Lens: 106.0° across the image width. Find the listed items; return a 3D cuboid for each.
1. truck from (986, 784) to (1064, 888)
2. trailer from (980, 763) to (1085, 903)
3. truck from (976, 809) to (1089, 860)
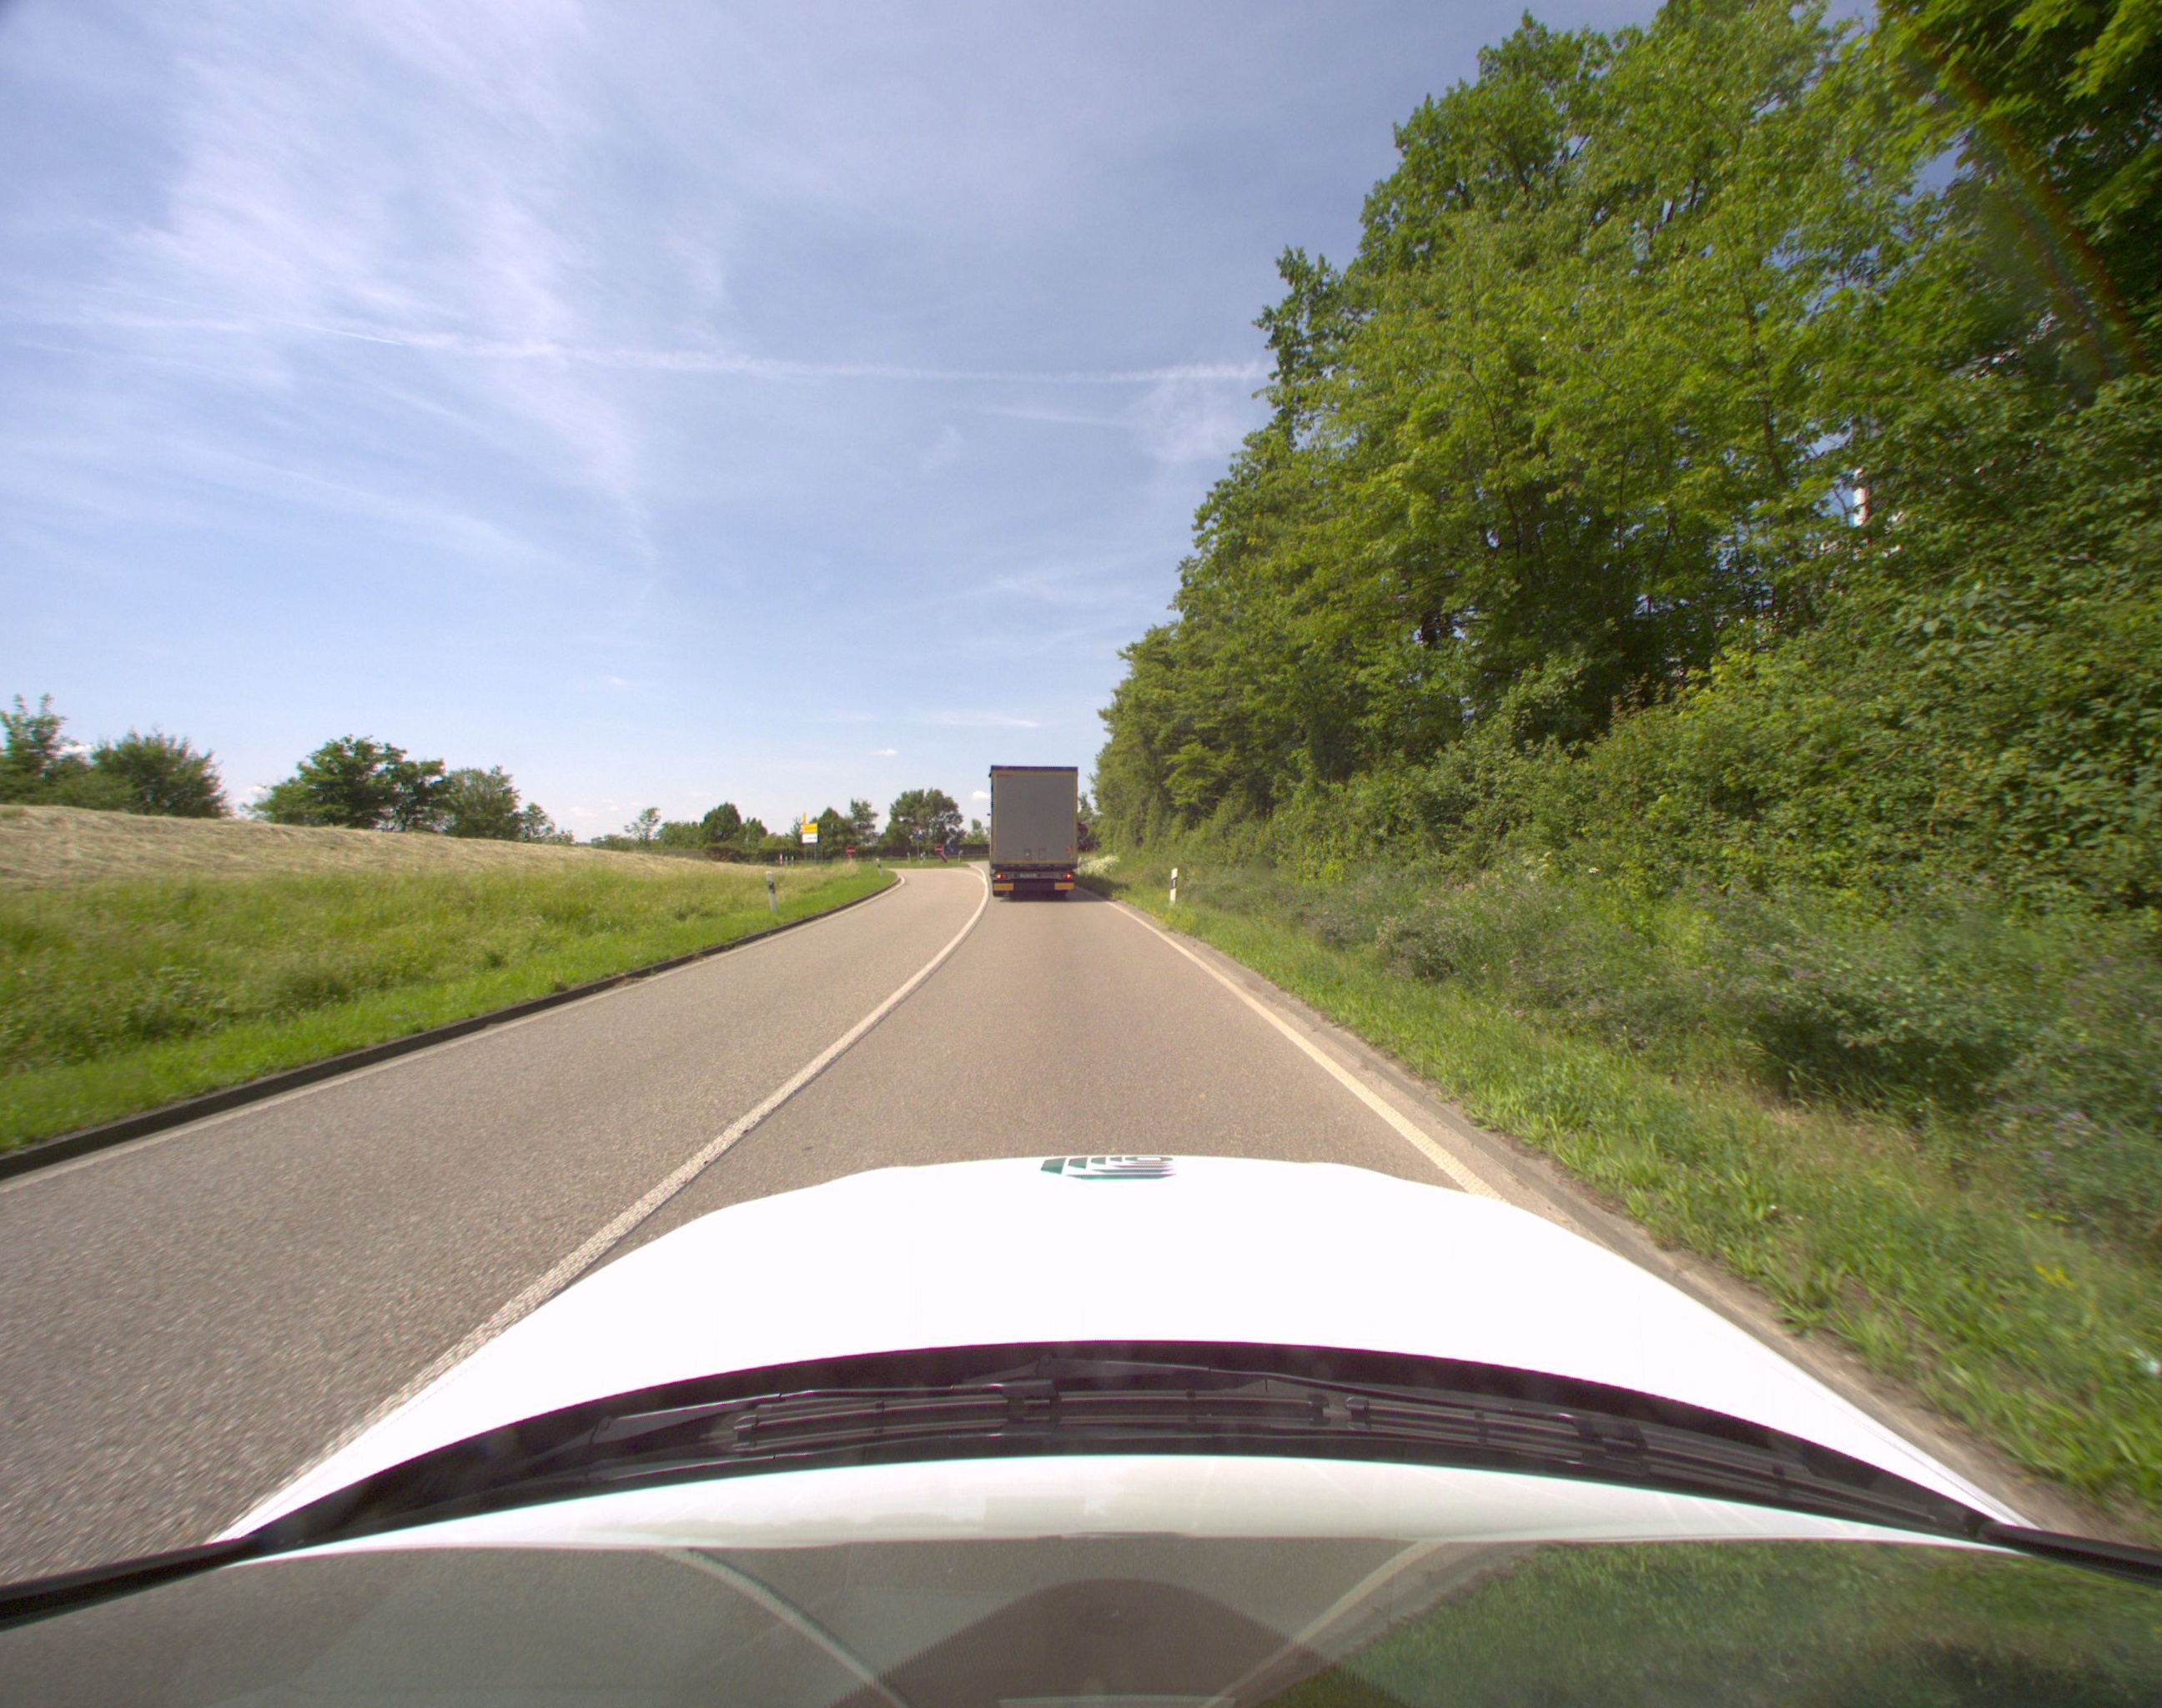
[{"bbox_3d":[-2.560,-0.727,36.981,3.147,4.225,7.111,1,0,-4],"label":"truck"},{"bbox_3d":[-1.973,-0.624,30.235,3.022,4.034,13.328,0,0,-5],"label":"trailer"},{"bbox_3d":[-4.602,-1.916,84.143,3.793,4.744,16.301,-1,0,27],"label":"truck"}]
